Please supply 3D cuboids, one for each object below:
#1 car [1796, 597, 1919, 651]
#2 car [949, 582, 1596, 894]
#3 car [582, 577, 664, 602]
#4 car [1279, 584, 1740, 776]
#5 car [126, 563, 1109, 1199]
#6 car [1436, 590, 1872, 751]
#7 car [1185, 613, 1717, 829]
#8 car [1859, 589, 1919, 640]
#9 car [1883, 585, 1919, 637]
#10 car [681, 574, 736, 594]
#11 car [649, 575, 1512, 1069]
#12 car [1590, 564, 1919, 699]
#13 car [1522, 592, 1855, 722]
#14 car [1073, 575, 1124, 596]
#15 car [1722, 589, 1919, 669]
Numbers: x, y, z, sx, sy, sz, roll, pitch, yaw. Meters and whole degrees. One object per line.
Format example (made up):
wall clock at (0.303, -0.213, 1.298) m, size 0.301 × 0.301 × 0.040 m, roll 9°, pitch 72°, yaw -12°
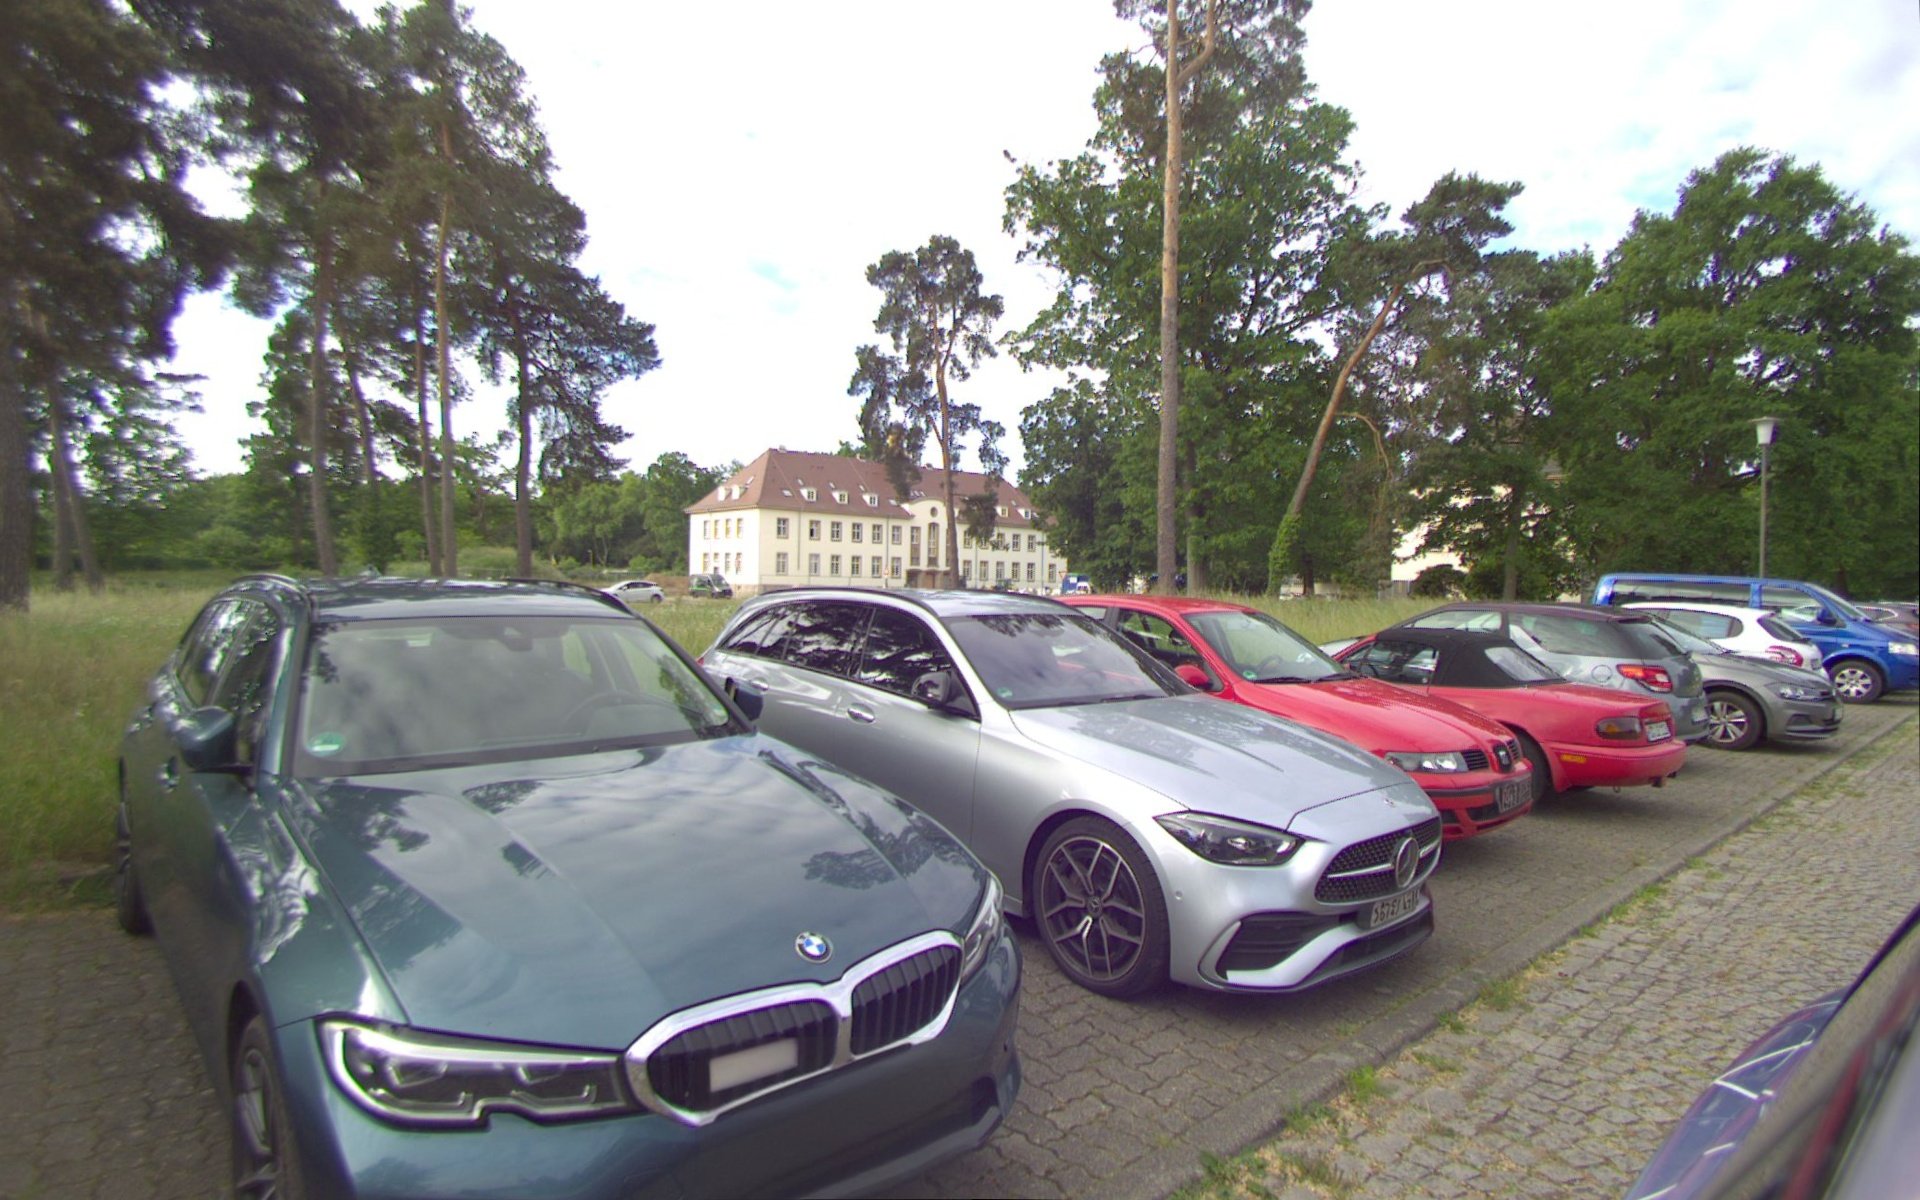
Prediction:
car at (27.758, 0.683, 30.264) m, size 1.965 × 1.549 × 3.994 m, roll 0°, pitch 0°, yaw -40°
car at (1.876, 0.649, 7.038) m, size 1.768 × 1.470 × 3.970 m, roll 0°, pitch 1°, yaw -40°
car at (-19.853, -0.637, 59.689) m, size 4.181 × 1.433 × 1.886 m, roll -1°, pitch 2°, yaw -40°
car at (5.452, 0.642, 10.377) m, size 1.769 × 1.524 × 3.782 m, roll 0°, pitch 1°, yaw -43°
car at (-1.862, 0.635, 3.883) m, size 1.732 × 1.501 × 4.762 m, roll 0°, pitch 1°, yaw -44°
car at (7.920, 0.672, 11.855) m, size 1.787 × 1.474 × 3.850 m, roll 0°, pitch 1°, yaw -38°
car at (3.754, 0.788, 8.233) m, size 1.468 × 1.222 × 3.599 m, roll 1°, pitch 1°, yaw -40°
car at (35.476, 0.556, 36.734) m, size 1.964 × 1.784 × 4.007 m, roll 0°, pitch 1°, yaw -39°
car at (38.852, 0.463, 39.436) m, size 1.964 × 2.039 × 3.996 m, roll 0°, pitch 1°, yaw -39°
car at (-25.752, -1.618, 103.692) m, size 6.170 × 1.882 × 2.305 m, roll 2°, pitch 2°, yaw 40°
car at (0.135, 0.648, 5.561) m, size 1.780 × 1.501 × 4.766 m, roll 0°, pitch 1°, yaw -40°
car at (13.855, 0.424, 17.391) m, size 1.965 × 1.963 × 4.746 m, roll 0°, pitch 2°, yaw -41°
car at (9.850, 0.665, 13.869) m, size 1.608 × 1.470 × 3.408 m, roll 0°, pitch 1°, yaw -40°
car at (14.104, -1.469, 102.853) m, size 5.129 × 2.039 × 2.154 m, roll 0°, pitch 1°, yaw -39°
car at (20.304, 0.609, 23.363) m, size 1.965 × 1.630 × 3.995 m, roll 0°, pitch 1°, yaw -40°
